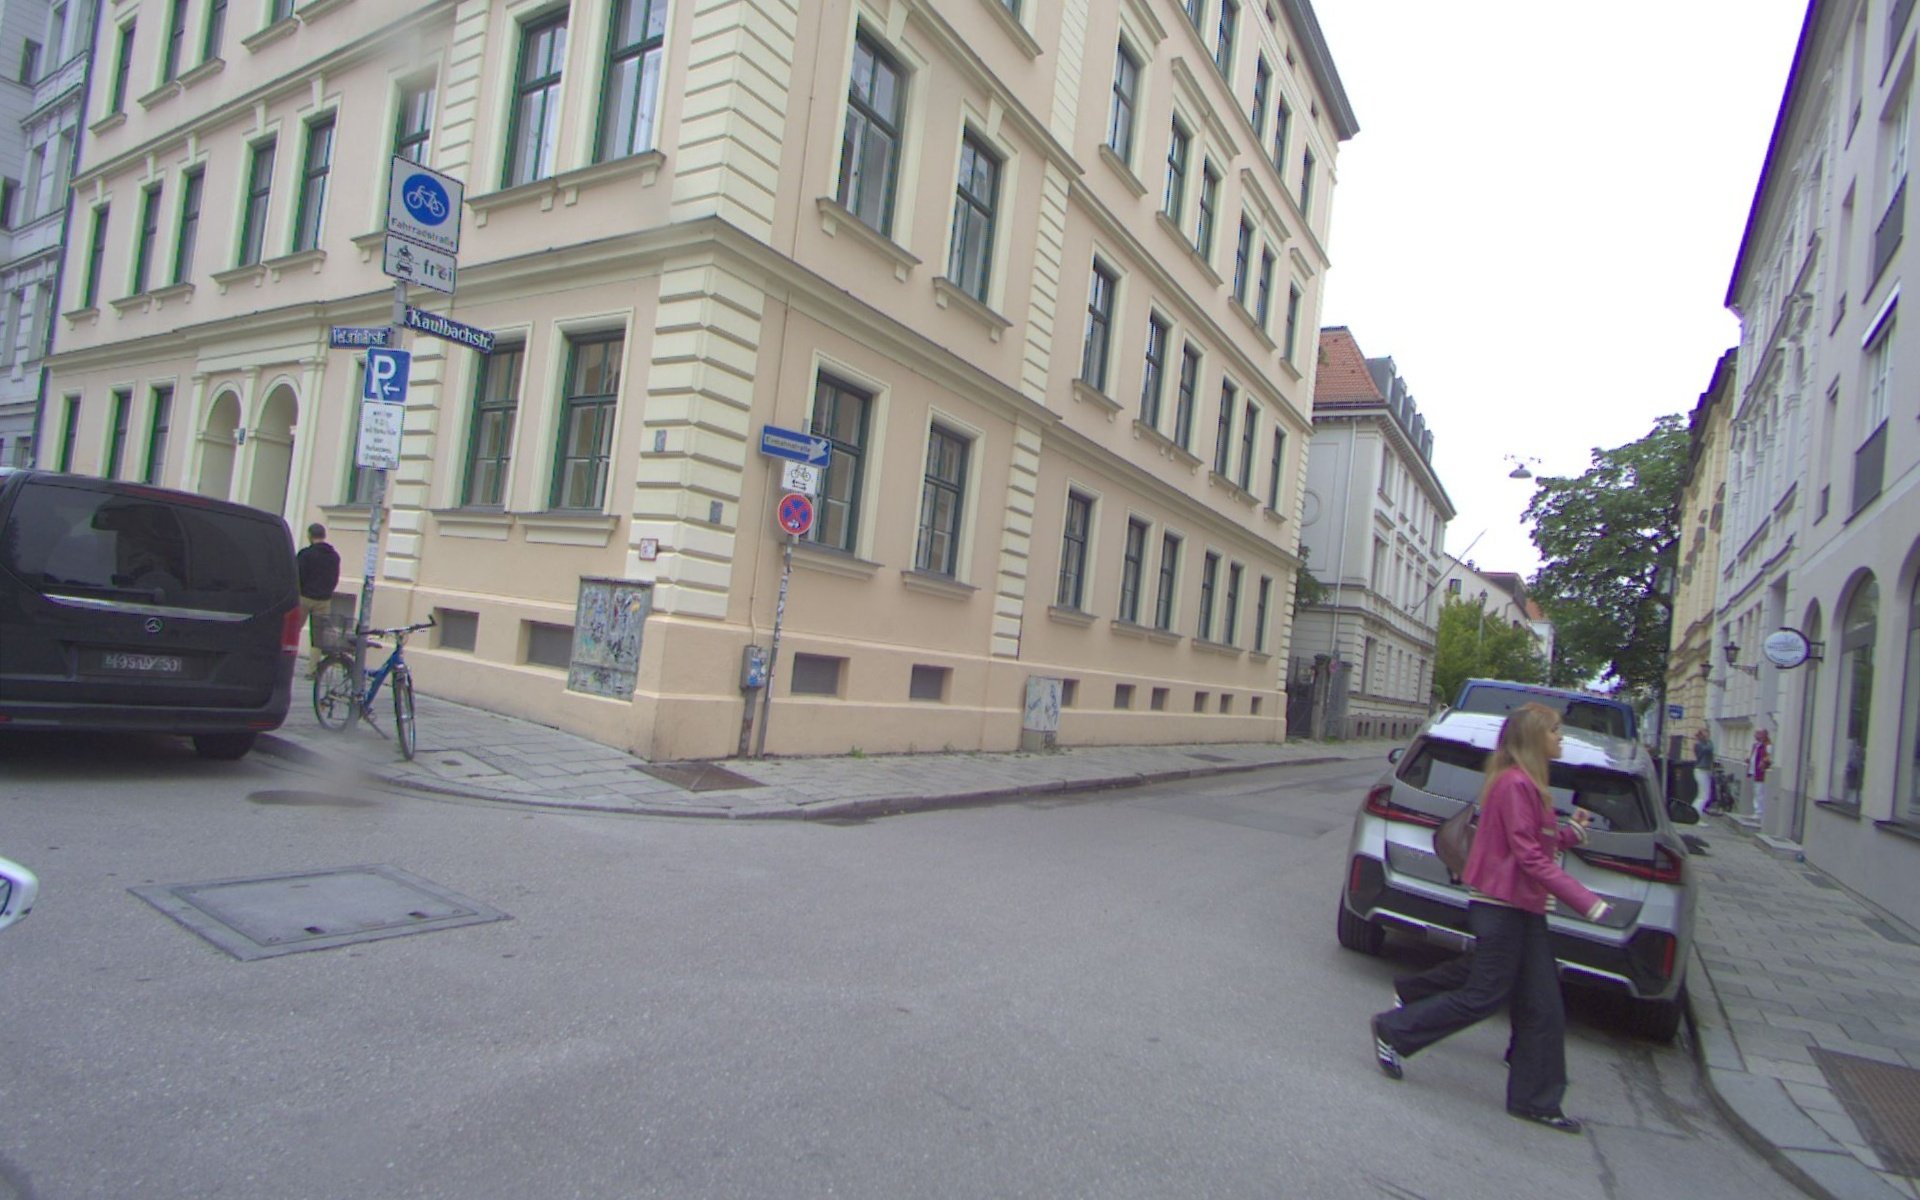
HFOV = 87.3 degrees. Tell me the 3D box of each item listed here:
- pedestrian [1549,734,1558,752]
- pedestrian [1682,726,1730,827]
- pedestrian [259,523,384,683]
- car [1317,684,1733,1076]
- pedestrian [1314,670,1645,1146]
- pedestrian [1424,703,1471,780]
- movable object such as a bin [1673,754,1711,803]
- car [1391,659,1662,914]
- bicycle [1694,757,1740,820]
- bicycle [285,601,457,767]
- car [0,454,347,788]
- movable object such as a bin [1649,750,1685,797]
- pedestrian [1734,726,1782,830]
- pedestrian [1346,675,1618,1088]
[{"bbox_3d":[58.391,14.047,98.993,0.583,1.730,0.584,4,-2,33],"label":"pedestrian"},{"bbox_3d":[13.461,3.163,18.170,0.564,1.716,0.497,4,-2,34],"label":"pedestrian"},{"bbox_3d":[-7.396,0.036,11.653,0.987,1.737,0.720,4,-2,33],"label":"pedestrian"},{"bbox_3d":[3.938,1.587,7.041,1.726,1.624,4.096,8,-1,32],"label":"car"},{"bbox_3d":[2.141,1.172,4.189,1.052,1.643,0.472,4,-2,33],"label":"pedestrian"},{"bbox_3d":[11.310,3.260,23.337,0.804,1.647,0.871,5,-2,31],"label":"pedestrian"},{"bbox_3d":[17.031,4.137,23.406,0.569,1.035,0.562,8,-3,-44],"label":"movable object such as a bin"},{"bbox_3d":[6.344,1.891,11.238,1.942,1.939,4.448,9,-1,32],"label":"car"},{"bbox_3d":[15.219,3.768,20.245,0.598,1.084,1.468,4,-3,34],"label":"bicycle"},{"bbox_3d":[-4.864,0.651,8.263,1.701,1.066,0.465,8,2,35],"label":"bicycle"},{"bbox_3d":[-7.122,0.016,7.791,5.171,1.885,2.000,6,-3,35],"label":"car"},{"bbox_3d":[17.087,4.181,24.298,0.569,1.035,0.562,8,-3,-44],"label":"movable object such as a bin"},{"bbox_3d":[14.509,3.219,18.299,0.535,1.801,0.509,4,-2,35],"label":"pedestrian"},{"bbox_3d":[2.475,1.231,4.774,0.964,1.639,0.659,4,-2,33],"label":"pedestrian"}]
